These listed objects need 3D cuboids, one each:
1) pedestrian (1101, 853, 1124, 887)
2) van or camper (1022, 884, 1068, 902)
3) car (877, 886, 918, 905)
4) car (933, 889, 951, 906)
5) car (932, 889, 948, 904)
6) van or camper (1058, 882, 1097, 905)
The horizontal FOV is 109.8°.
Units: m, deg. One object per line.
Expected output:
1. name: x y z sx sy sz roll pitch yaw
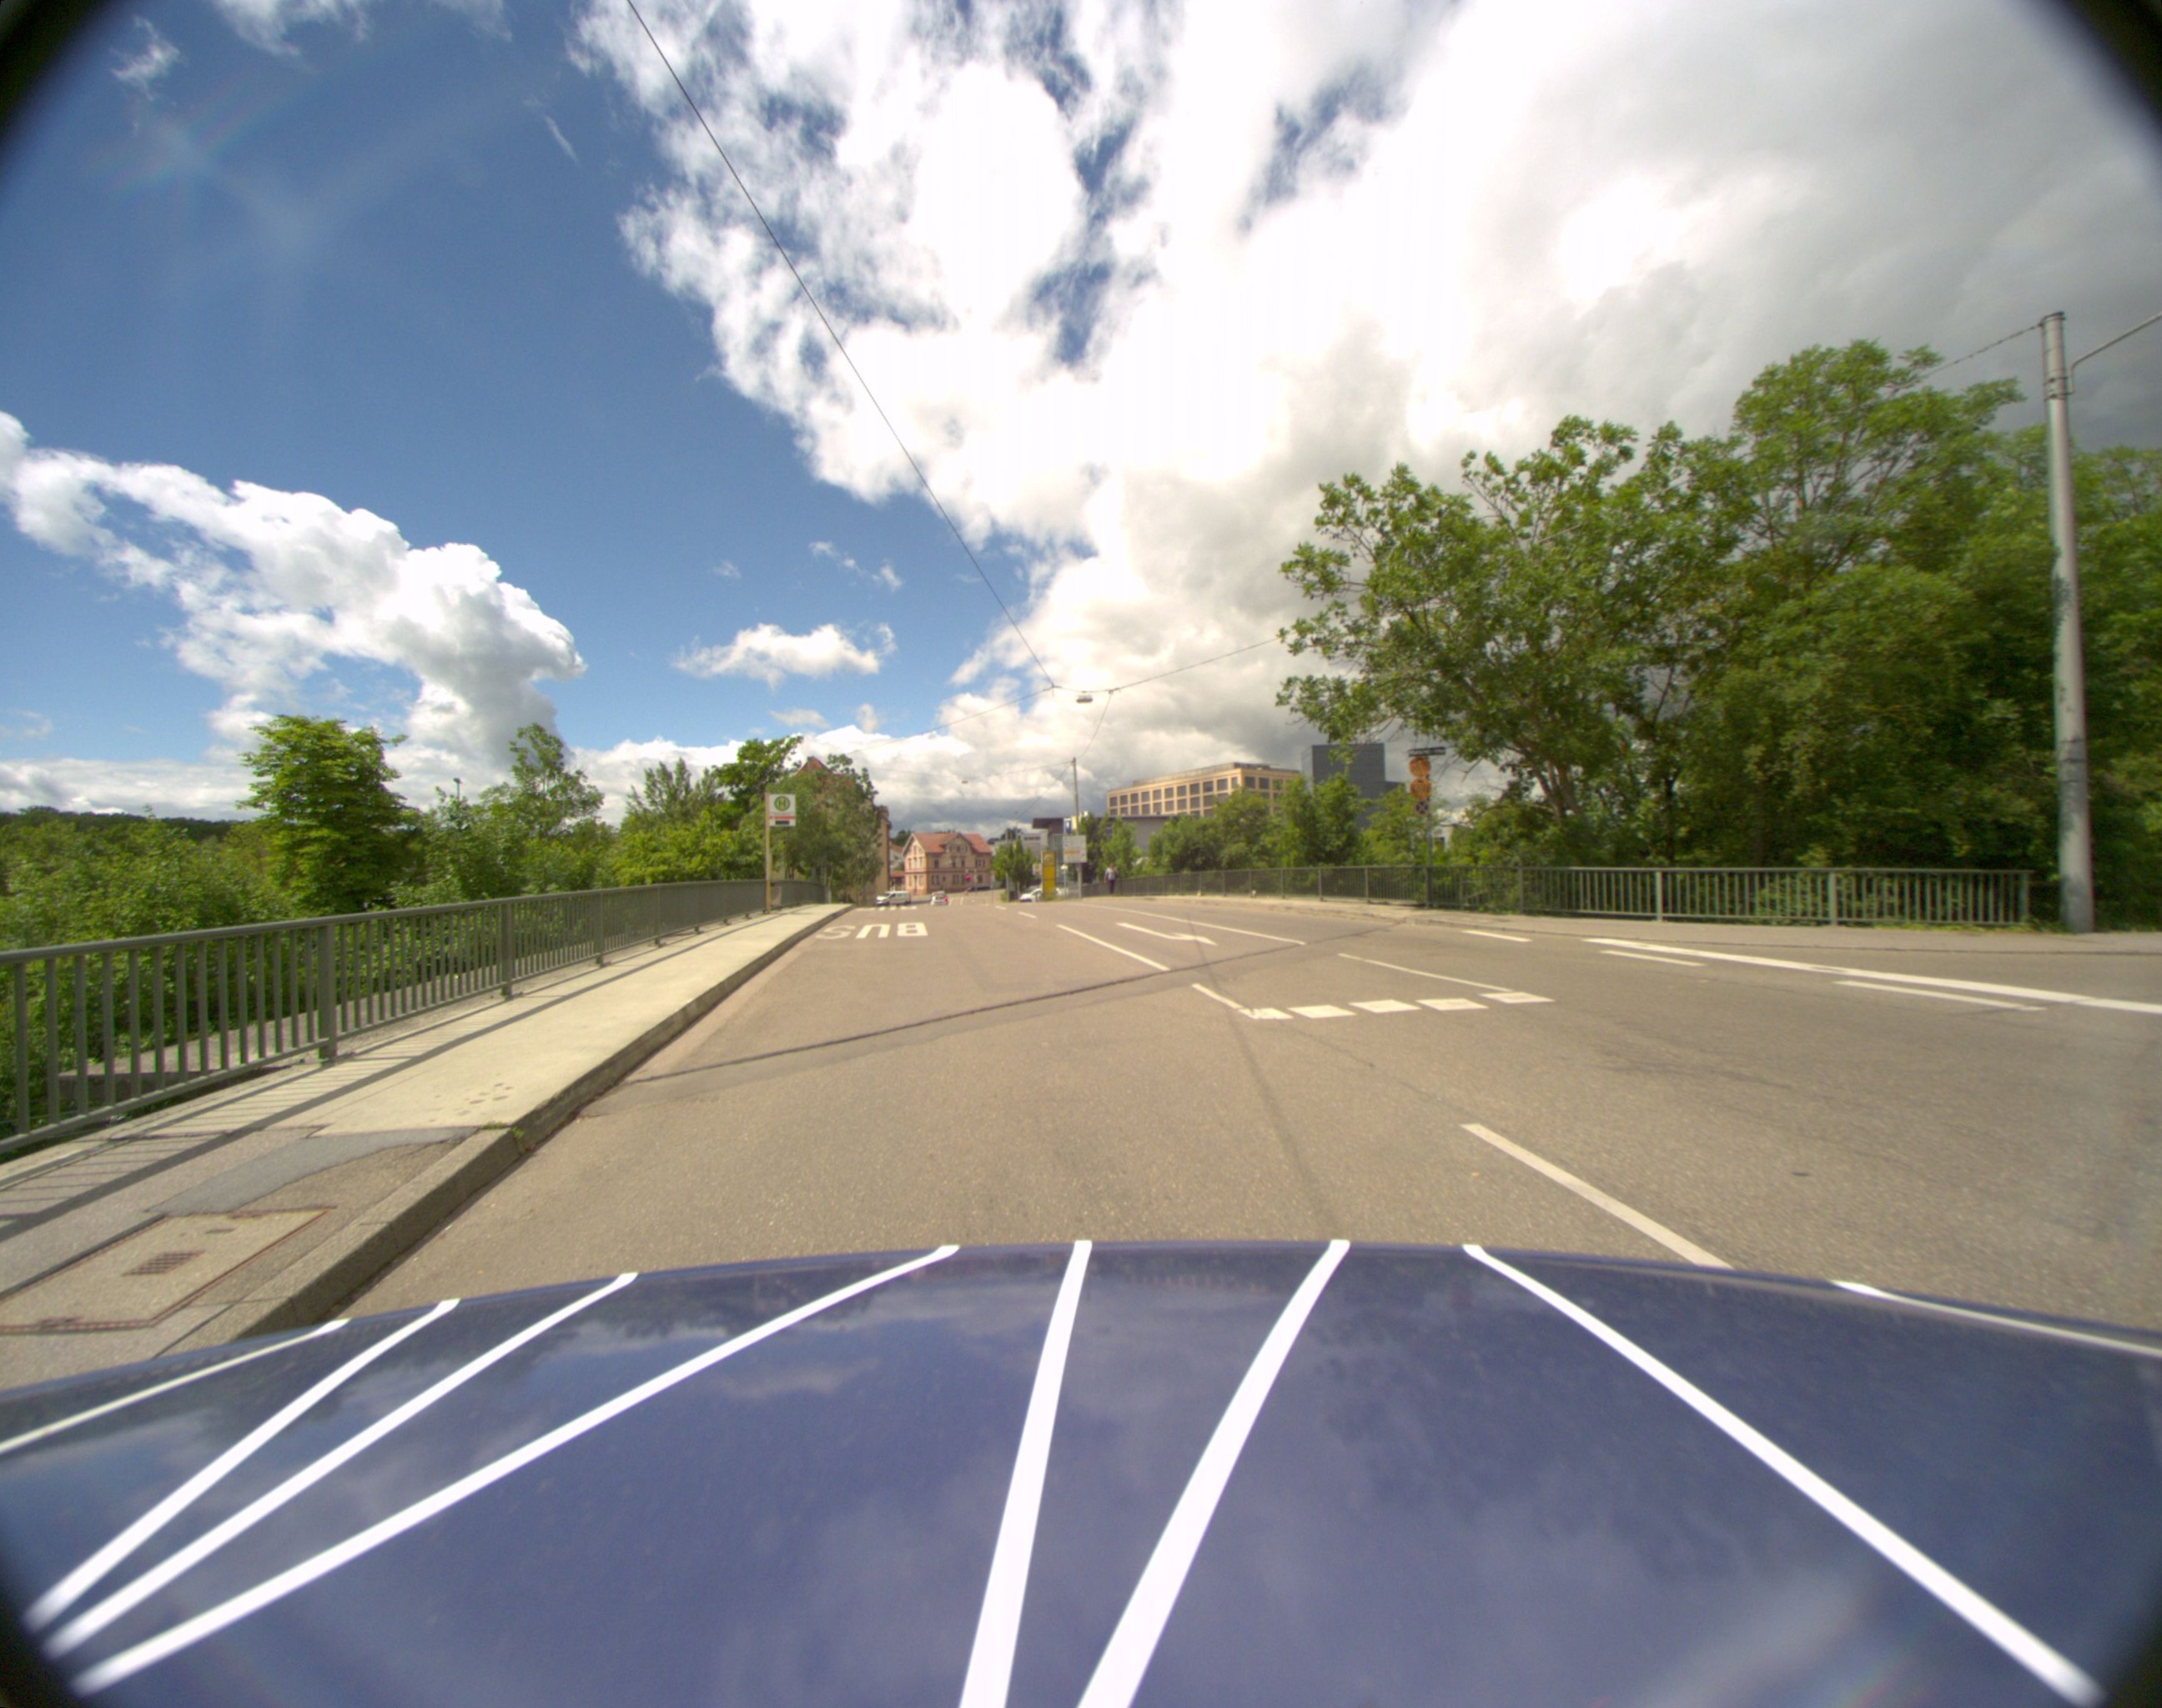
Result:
1. pedestrian: 1.744 0.894 42.402 0.999 1.825 1.036 -2 -2 -12
2. van or camper: -3.804 4.102 80.553 4.683 1.739 2.000 -1 -2 -7
3. car: -24.613 5.545 102.058 1.995 1.981 4.999 -4 0 40
4. car: -15.172 4.723 83.078 1.725 1.572 3.996 -3 0 -12
5. car: -17.644 5.352 95.364 1.724 1.572 4.248 -3 0 -8
6. van or camper: -0.283 3.726 71.957 1.986 1.951 4.968 -3 -2 21
